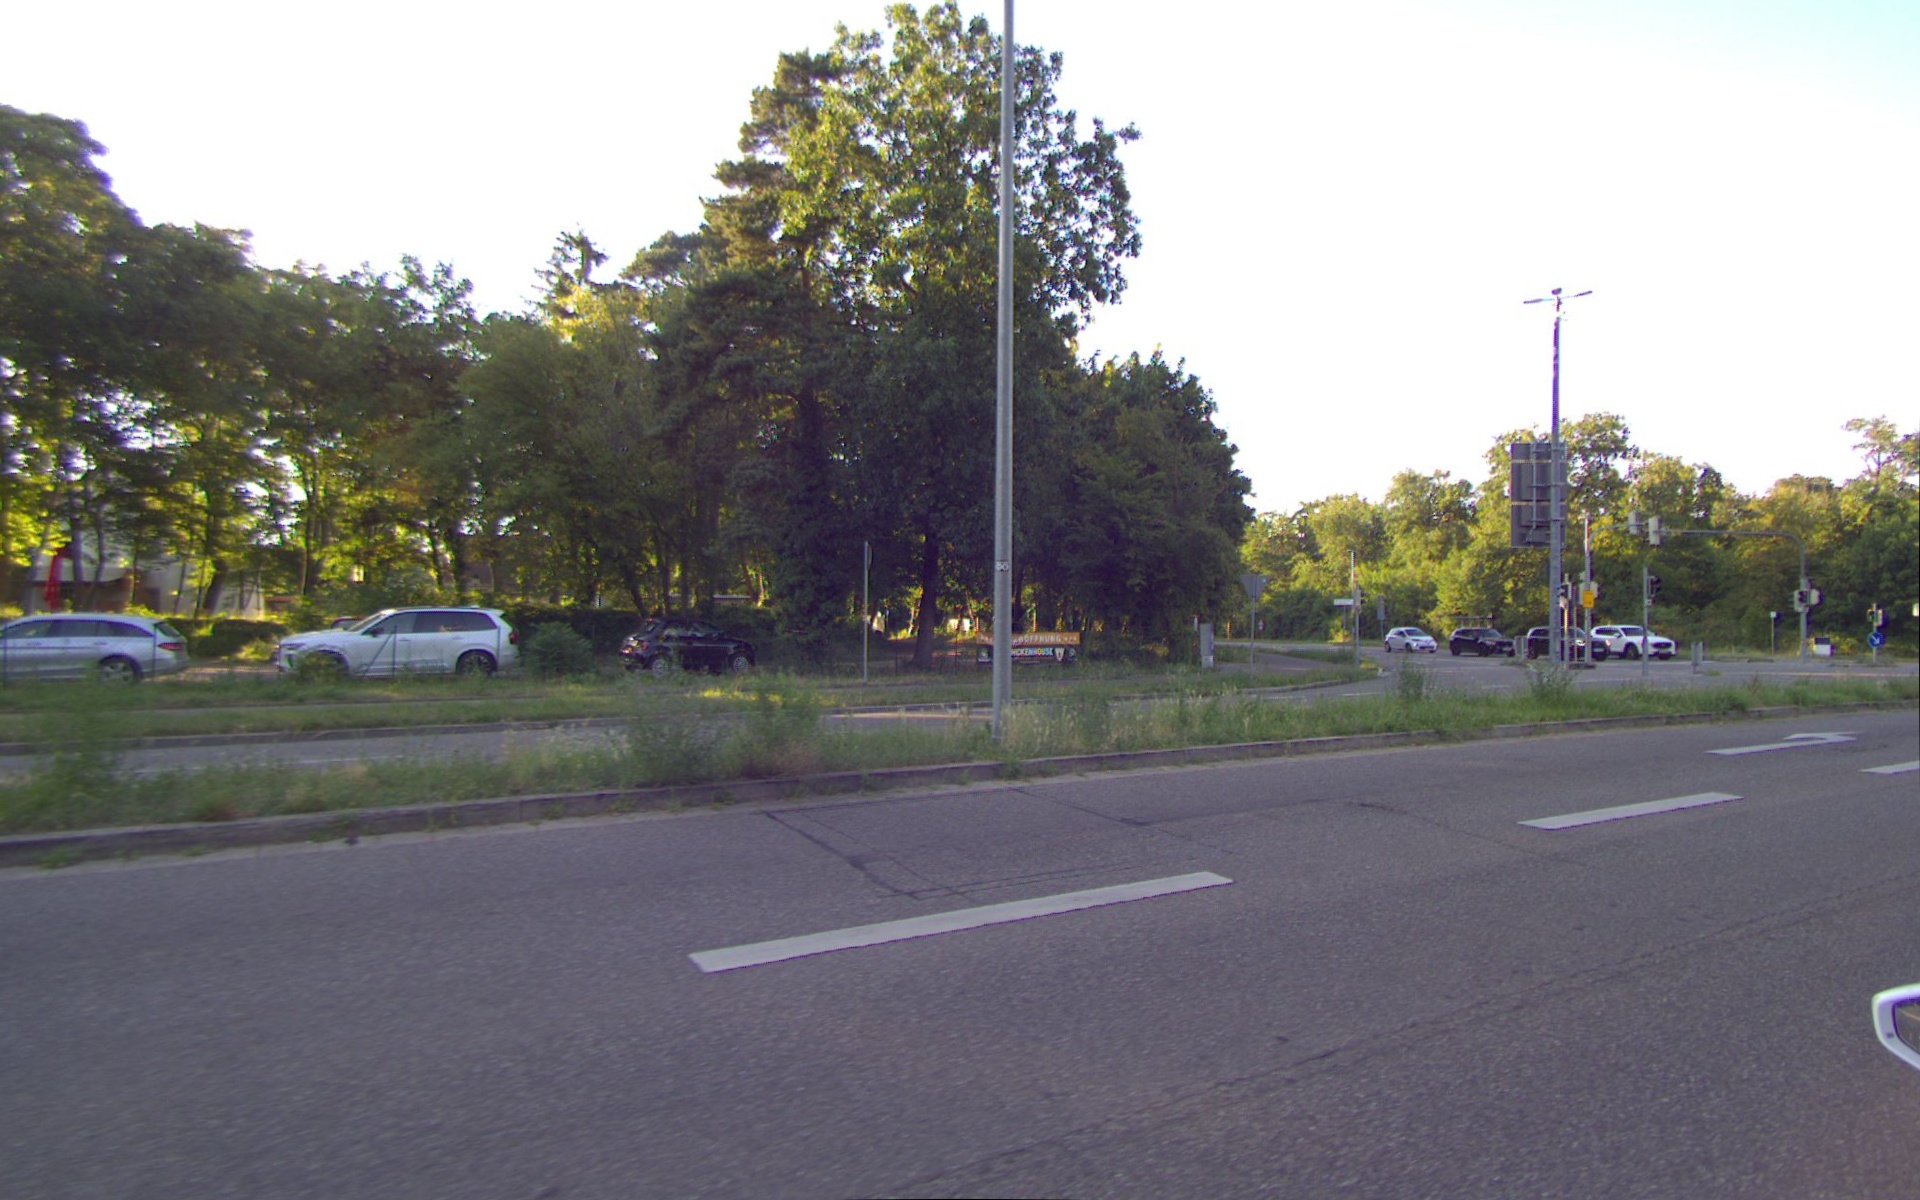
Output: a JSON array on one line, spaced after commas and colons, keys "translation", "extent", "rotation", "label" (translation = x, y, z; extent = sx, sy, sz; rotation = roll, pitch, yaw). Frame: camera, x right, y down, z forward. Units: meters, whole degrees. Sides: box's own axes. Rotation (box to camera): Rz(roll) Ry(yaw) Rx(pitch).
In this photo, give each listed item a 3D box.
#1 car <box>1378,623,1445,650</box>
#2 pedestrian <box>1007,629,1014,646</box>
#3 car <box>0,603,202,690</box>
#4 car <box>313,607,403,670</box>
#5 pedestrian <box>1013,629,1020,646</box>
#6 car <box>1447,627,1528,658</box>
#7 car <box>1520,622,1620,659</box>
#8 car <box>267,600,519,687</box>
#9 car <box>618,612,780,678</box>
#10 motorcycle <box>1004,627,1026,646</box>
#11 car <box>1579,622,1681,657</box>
[{"translation": [28.612, 2.305, 63.788], "extent": [1.963, 1.661, 4.252], "rotation": [1, -1, -8], "label": "car"}, {"translation": [2.768, 2.046, 54.729], "extent": [0.316, 0.937, 0.375], "rotation": [0, -1, -10], "label": "pedestrian"}, {"translation": [-18.135, 0.890, 19.839], "extent": [4.869, 1.628, 1.982], "rotation": [1, -2, -33], "label": "car"}, {"translation": [-17.163, 1.075, 28.803], "extent": [1.894, 1.673, 3.973], "rotation": [1, -1, -27], "label": "car"}, {"translation": [3.097, 2.047, 54.785], "extent": [0.316, 0.931, 0.375], "rotation": [0, -1, -10], "label": "pedestrian"}, {"translation": [29.150, 2.321, 55.610], "extent": [1.962, 1.661, 4.254], "rotation": [0, -1, -6], "label": "car"}, {"translation": [29.210, 1.917, 48.253], "extent": [1.962, 1.661, 4.254], "rotation": [0, -1, -6], "label": "car"}, {"translation": [-12.947, 0.970, 23.140], "extent": [4.869, 1.810, 1.982], "rotation": [1, -2, -33], "label": "car"}, {"translation": [-6.891, 1.156, 26.616], "extent": [3.775, 1.618, 1.843], "rotation": [1, -2, -34], "label": "car"}, {"translation": [2.986, 2.013, 54.767], "extent": [1.156, 1.031, 0.383], "rotation": [1, -1, -10], "label": "motorcycle"}, {"translation": [32.942, 1.920, 49.529], "extent": [1.962, 1.661, 4.254], "rotation": [0, -1, -6], "label": "car"}]
